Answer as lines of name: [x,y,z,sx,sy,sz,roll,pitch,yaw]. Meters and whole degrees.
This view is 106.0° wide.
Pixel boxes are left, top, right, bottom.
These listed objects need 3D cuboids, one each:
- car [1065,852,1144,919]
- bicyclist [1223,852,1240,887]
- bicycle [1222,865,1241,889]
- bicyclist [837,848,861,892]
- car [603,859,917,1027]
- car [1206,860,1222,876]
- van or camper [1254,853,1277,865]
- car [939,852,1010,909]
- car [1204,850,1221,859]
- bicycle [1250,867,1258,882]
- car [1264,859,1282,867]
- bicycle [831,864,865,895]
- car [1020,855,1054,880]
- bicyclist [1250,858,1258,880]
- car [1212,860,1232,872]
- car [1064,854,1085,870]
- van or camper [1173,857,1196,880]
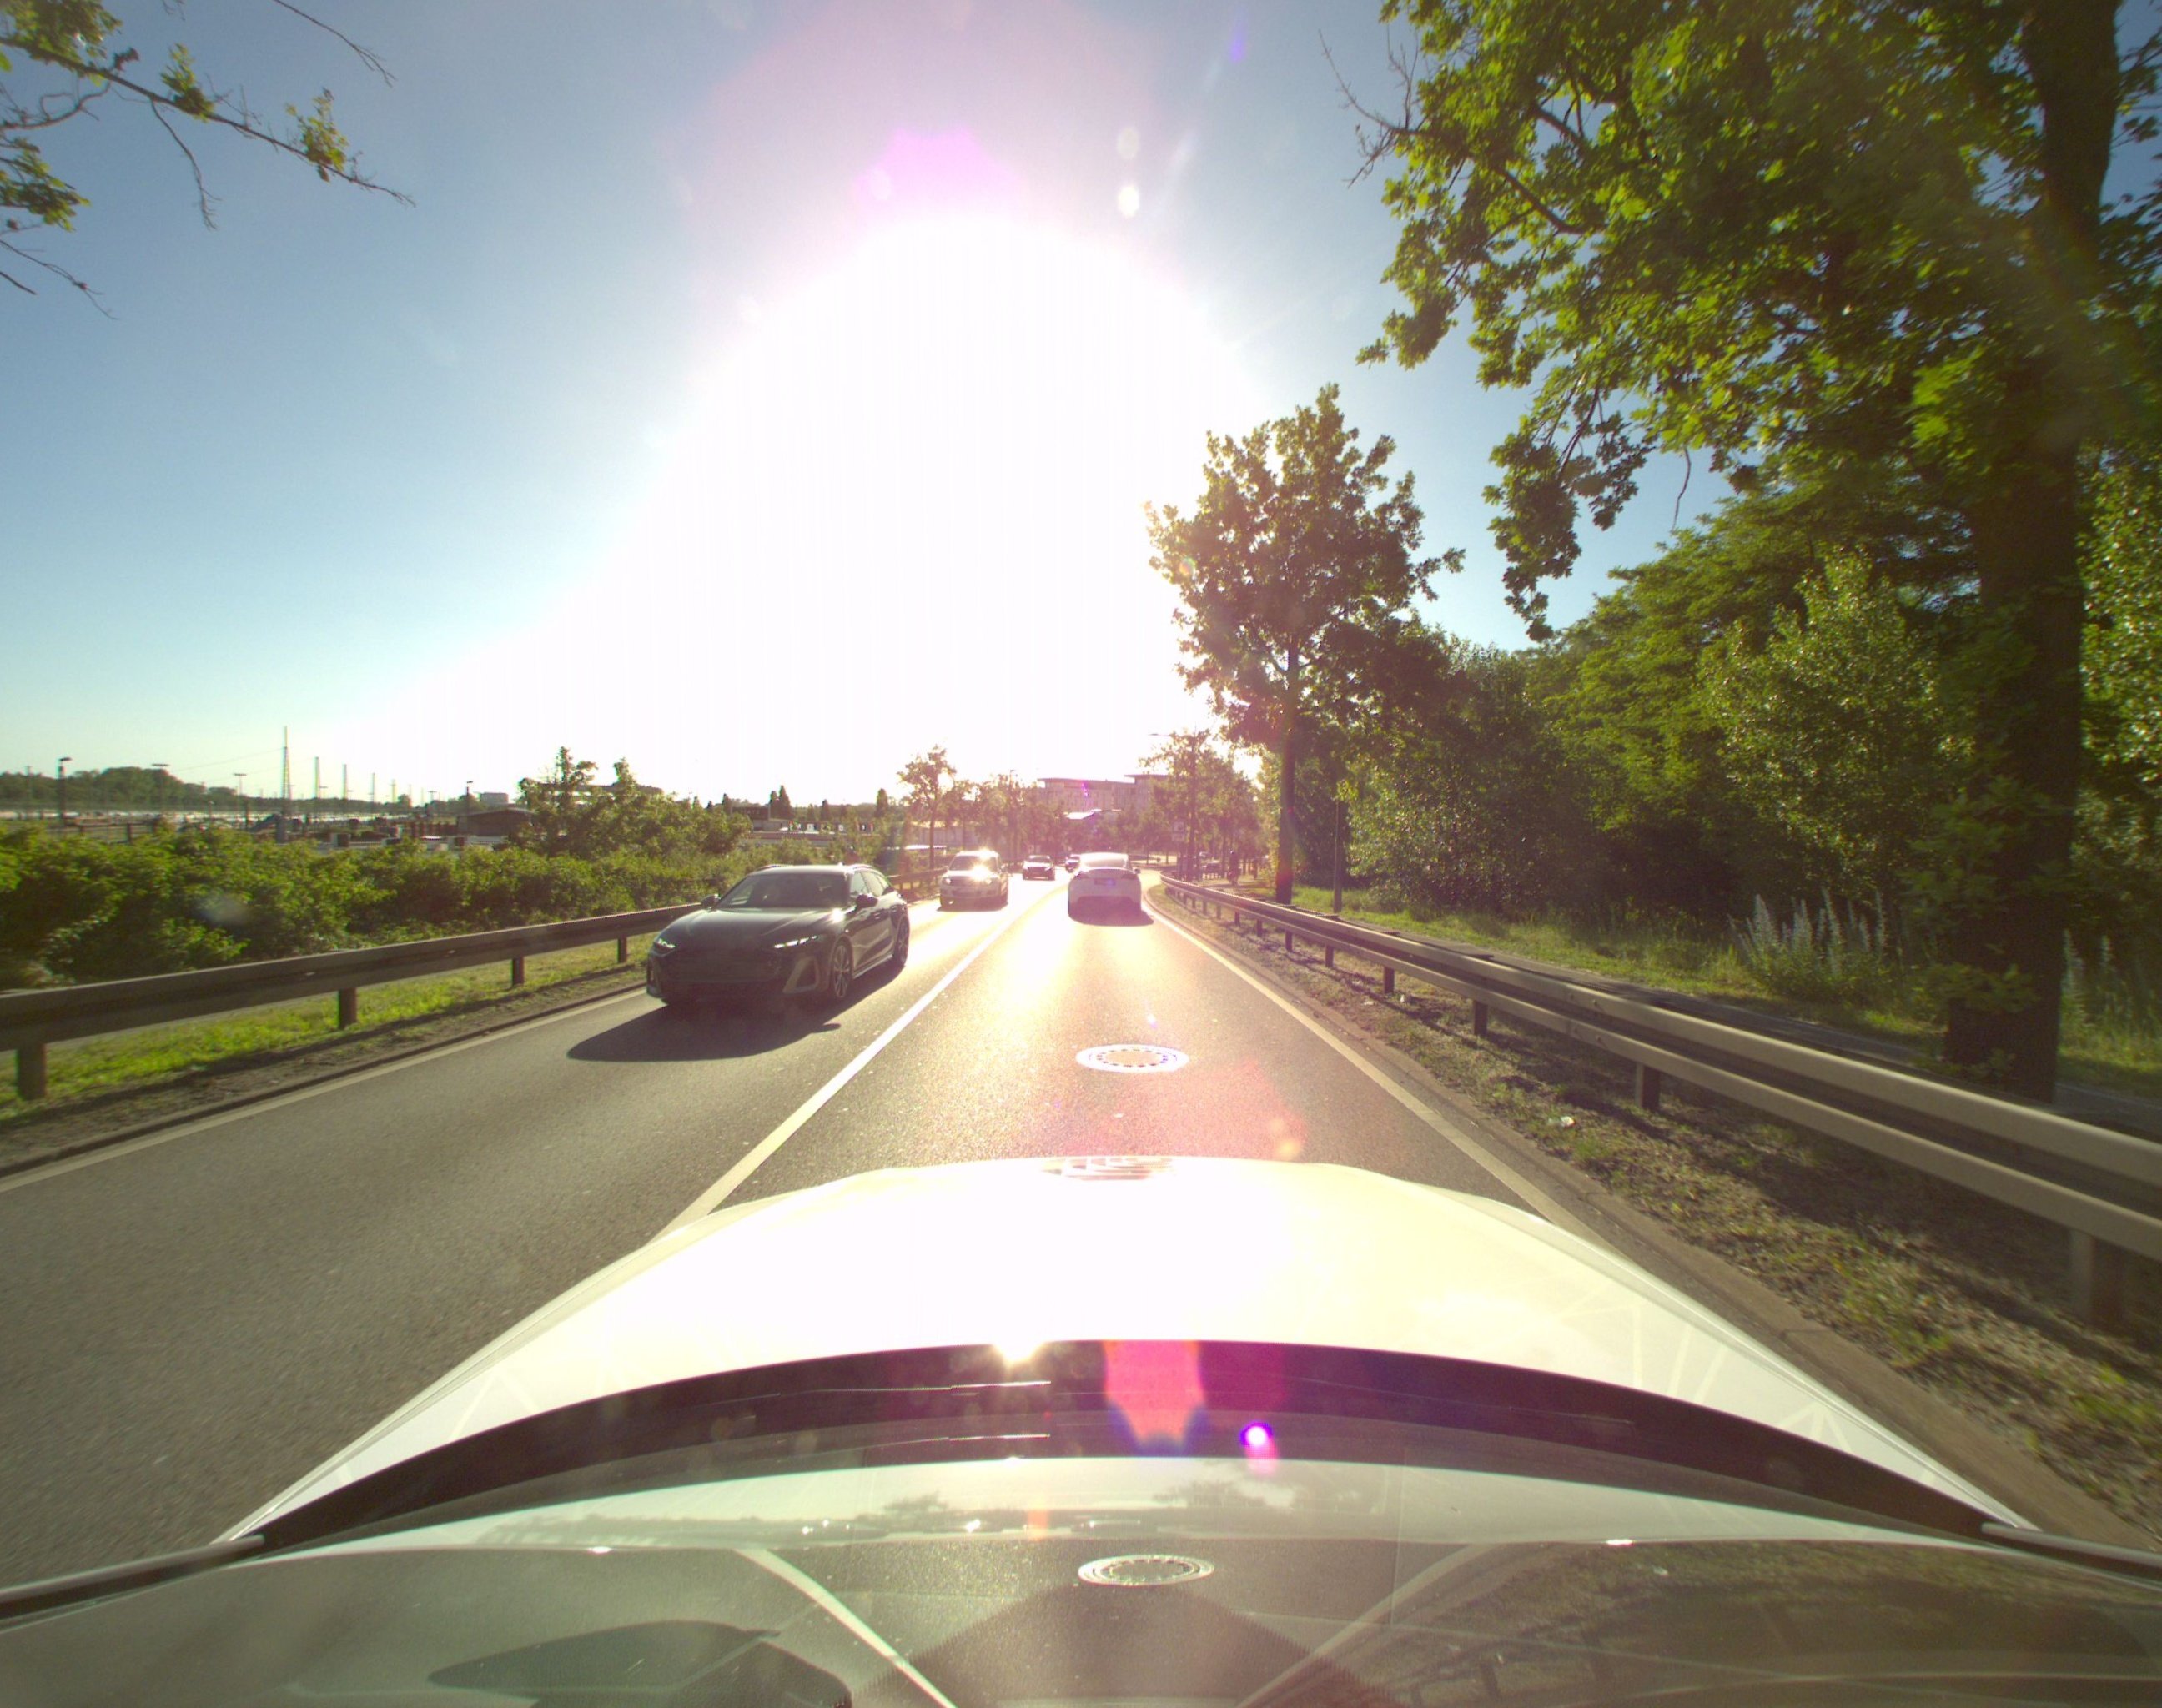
car: [0.538,0.773,22.343,1.909,1.641,4.406,0,0,-2]
bicyclist: [6.889,0.679,37.266,0.702,1.578,1.008,0,0,14]
bicycle: [6.859,1.049,37.127,0.696,1.074,1.928,0,-2,15]
bicyclist: [-8.692,0.589,30.582,0.649,1.623,0.874,0,0,0]
car: [-3.395,0.820,9.760,1.843,1.491,4.716,0,0,0]
car: [14.911,1.564,91.621,1.595,1.434,3.687,2,3,8]
van or camper: [30.805,0.841,136.019,1.809,1.790,4.573,4,3,41]
car: [-3.250,0.753,25.545,1.723,1.658,3.981,0,0,0]
car: [24.846,0.103,153.833,1.746,1.489,4.302,3,0,27]
bicycle: [13.965,1.644,65.738,0.690,1.095,2.125,0,0,12]
car: [37.356,1.778,158.239,1.692,1.522,3.765,3,2,43]
bicycle: [-8.693,0.923,30.499,0.658,1.095,2.108,0,0,0]
car: [-2.662,0.788,50.030,1.685,1.441,4.218,0,0,2]
bicyclist: [13.952,1.186,65.654,0.671,1.776,0.951,0,0,12]
car: [19.791,1.619,114.219,1.748,1.475,4.312,3,2,22]
car: [-0.598,0.734,77.266,1.802,1.496,4.372,0,0,2]
van or camper: [9.086,1.241,71.429,1.948,1.884,4.890,0,0,7]
